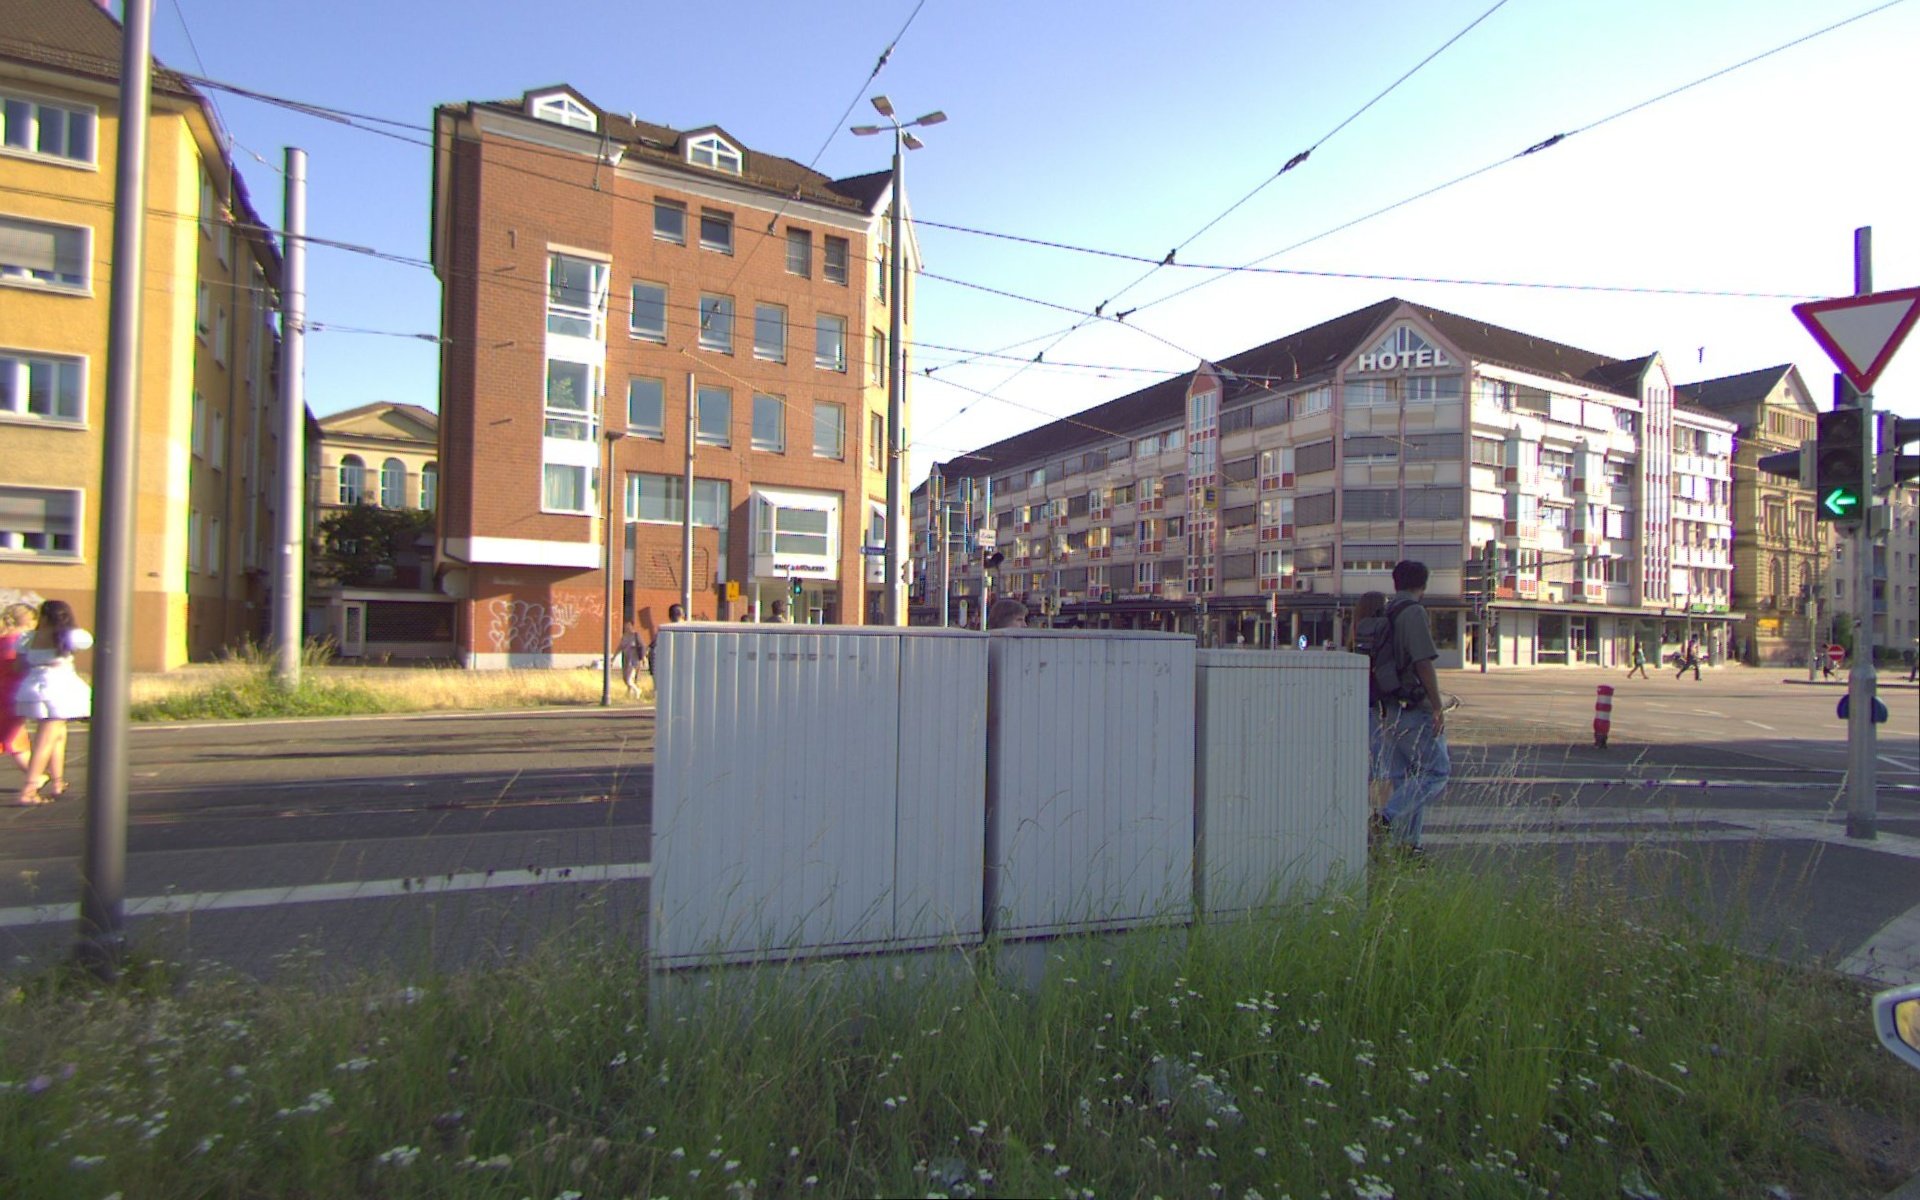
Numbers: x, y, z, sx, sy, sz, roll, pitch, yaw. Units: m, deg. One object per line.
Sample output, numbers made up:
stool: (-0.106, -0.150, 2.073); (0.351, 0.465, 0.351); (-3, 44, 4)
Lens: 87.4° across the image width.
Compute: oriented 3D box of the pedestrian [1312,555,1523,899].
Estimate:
pedestrian: (2.593, 0.699, 5.805); (0.882, 1.824, 0.789); (-1, -2, 10)

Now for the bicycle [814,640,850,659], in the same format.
bicycle: (-6.787, 2.613, 53.242); (1.813, 0.974, 0.540); (2, 0, -27)

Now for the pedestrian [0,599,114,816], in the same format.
pedestrian: (-6.570, 0.742, 7.265); (0.628, 1.475, 0.523); (2, 0, 37)

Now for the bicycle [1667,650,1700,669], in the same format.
bicycle: (45.636, 3.757, 63.345); (2.056, 1.085, 0.451); (2, 0, -13)

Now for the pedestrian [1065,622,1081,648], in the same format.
pedestrian: (7.494, 2.323, 66.749); (0.773, 1.682, 0.677); (2, 0, -35)

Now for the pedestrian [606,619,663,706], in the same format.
pedestrian: (-6.215, 1.176, 19.233); (0.825, 1.605, 0.683); (2, 0, -3)

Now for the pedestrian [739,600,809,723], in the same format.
pedestrian: (-2.815, 0.910, 15.298); (0.760, 1.781, 0.900); (2, 0, 6)

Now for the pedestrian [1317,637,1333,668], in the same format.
pedestrian: (20.100, 2.885, 55.286); (0.705, 1.684, 0.631); (0, -2, 37)

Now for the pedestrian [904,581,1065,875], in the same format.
pedestrian: (0.138, 0.727, 6.165); (0.612, 1.662, 0.781); (2, 0, -31)

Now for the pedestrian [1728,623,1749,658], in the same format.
pedestrian: (55.068, 2.889, 71.056); (0.953, 2.430, 0.918); (2, 0, -40)

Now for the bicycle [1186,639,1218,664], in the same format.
bicycle: (14.732, 3.124, 61.215); (0.577, 1.385, 2.077); (0, 0, -31)

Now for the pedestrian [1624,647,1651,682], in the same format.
pedestrian: (29.751, 2.820, 44.102); (0.847, 1.472, 0.700); (2, 0, -34)

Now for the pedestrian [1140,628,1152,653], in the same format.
pedestrian: (13.791, 3.011, 74.580); (0.601, 1.877, 0.601); (2, 0, -20)

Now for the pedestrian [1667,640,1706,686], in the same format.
pedestrian: (32.168, 2.782, 44.463); (0.847, 1.909, 1.187); (-2, 2, -34)

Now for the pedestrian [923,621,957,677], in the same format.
pedestrian: (-0.646, 1.618, 33.130); (0.824, 1.781, 0.687); (2, 0, -43)

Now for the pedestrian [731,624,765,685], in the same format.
pedestrian: (-5.779, 1.484, 27.358); (0.828, 1.605, 0.681); (2, 0, -15)

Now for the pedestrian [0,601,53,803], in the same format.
pedestrian: (-7.200, 0.740, 7.471); (0.628, 1.451, 0.523); (2, 0, 36)

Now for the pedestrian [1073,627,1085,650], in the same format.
pedestrian: (9.711, 3.135, 82.097); (0.804, 1.802, 0.680); (2, 0, 0)

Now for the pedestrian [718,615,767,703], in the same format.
pedestrian: (-4.121, 1.109, 19.086); (0.596, 1.609, 0.789); (2, 0, 12)

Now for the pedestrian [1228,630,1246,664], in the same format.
pedestrian: (14.894, 2.496, 53.949); (0.503, 1.787, 1.001); (2, 0, 41)

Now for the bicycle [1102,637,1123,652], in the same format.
bicycle: (11.820, 3.437, 78.010); (1.630, 1.134, 0.480); (2, 0, -30)

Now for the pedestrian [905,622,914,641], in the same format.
pedestrian: (-5.698, 3.567, 113.420); (0.829, 2.040, 0.774); (2, 0, -20)

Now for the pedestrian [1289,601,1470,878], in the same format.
pedestrian: (2.718, 0.860, 6.608); (0.882, 1.662, 0.788); (2, 0, 8)

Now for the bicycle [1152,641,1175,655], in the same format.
bicycle: (14.258, 3.369, 70.432); (0.494, 0.929, 2.067); (2, -2, -23)

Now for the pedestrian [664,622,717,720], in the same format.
pedestrian: (-4.015, 1.046, 14.989); (0.585, 1.378, 0.608); (2, 2, -1)

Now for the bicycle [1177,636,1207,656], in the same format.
bicycle: (15.620, 3.083, 67.744); (0.720, 1.243, 2.319); (2, -2, -23)

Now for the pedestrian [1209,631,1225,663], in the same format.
pedestrian: (14.201, 2.582, 55.521); (0.612, 1.717, 0.866); (2, 0, 29)

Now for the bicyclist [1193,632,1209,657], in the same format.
bicyclist: (14.690, 2.724, 61.281); (0.560, 1.501, 0.732); (0, 1, -31)

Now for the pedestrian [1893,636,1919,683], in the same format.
pedestrian: (36.980, 2.295, 38.814); (0.847, 1.754, 1.187); (2, 0, -34)

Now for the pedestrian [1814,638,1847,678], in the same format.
pedestrian: (34.220, 2.276, 39.498); (0.841, 1.483, 0.685); (2, -5, 32)

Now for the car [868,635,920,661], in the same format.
car: (-3.706, 2.643, 55.737); (1.725, 1.261, 3.916); (2, 0, -22)

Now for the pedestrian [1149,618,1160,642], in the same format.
pedestrian: (13.934, 2.129, 72.072); (0.598, 1.657, 0.604); (4, 1, 16)

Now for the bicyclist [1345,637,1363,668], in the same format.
bicyclist: (21.149, 2.791, 53.958); (0.649, 1.618, 0.637); (-1, 1, -26)

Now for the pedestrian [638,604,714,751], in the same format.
pedestrian: (-3.173, 0.836, 11.198); (0.612, 1.556, 0.782); (2, 0, -29)

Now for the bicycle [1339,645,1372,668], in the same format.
bicycle: (21.285, 3.020, 54.036); (1.746, 1.160, 0.636); (-1, 1, -26)
